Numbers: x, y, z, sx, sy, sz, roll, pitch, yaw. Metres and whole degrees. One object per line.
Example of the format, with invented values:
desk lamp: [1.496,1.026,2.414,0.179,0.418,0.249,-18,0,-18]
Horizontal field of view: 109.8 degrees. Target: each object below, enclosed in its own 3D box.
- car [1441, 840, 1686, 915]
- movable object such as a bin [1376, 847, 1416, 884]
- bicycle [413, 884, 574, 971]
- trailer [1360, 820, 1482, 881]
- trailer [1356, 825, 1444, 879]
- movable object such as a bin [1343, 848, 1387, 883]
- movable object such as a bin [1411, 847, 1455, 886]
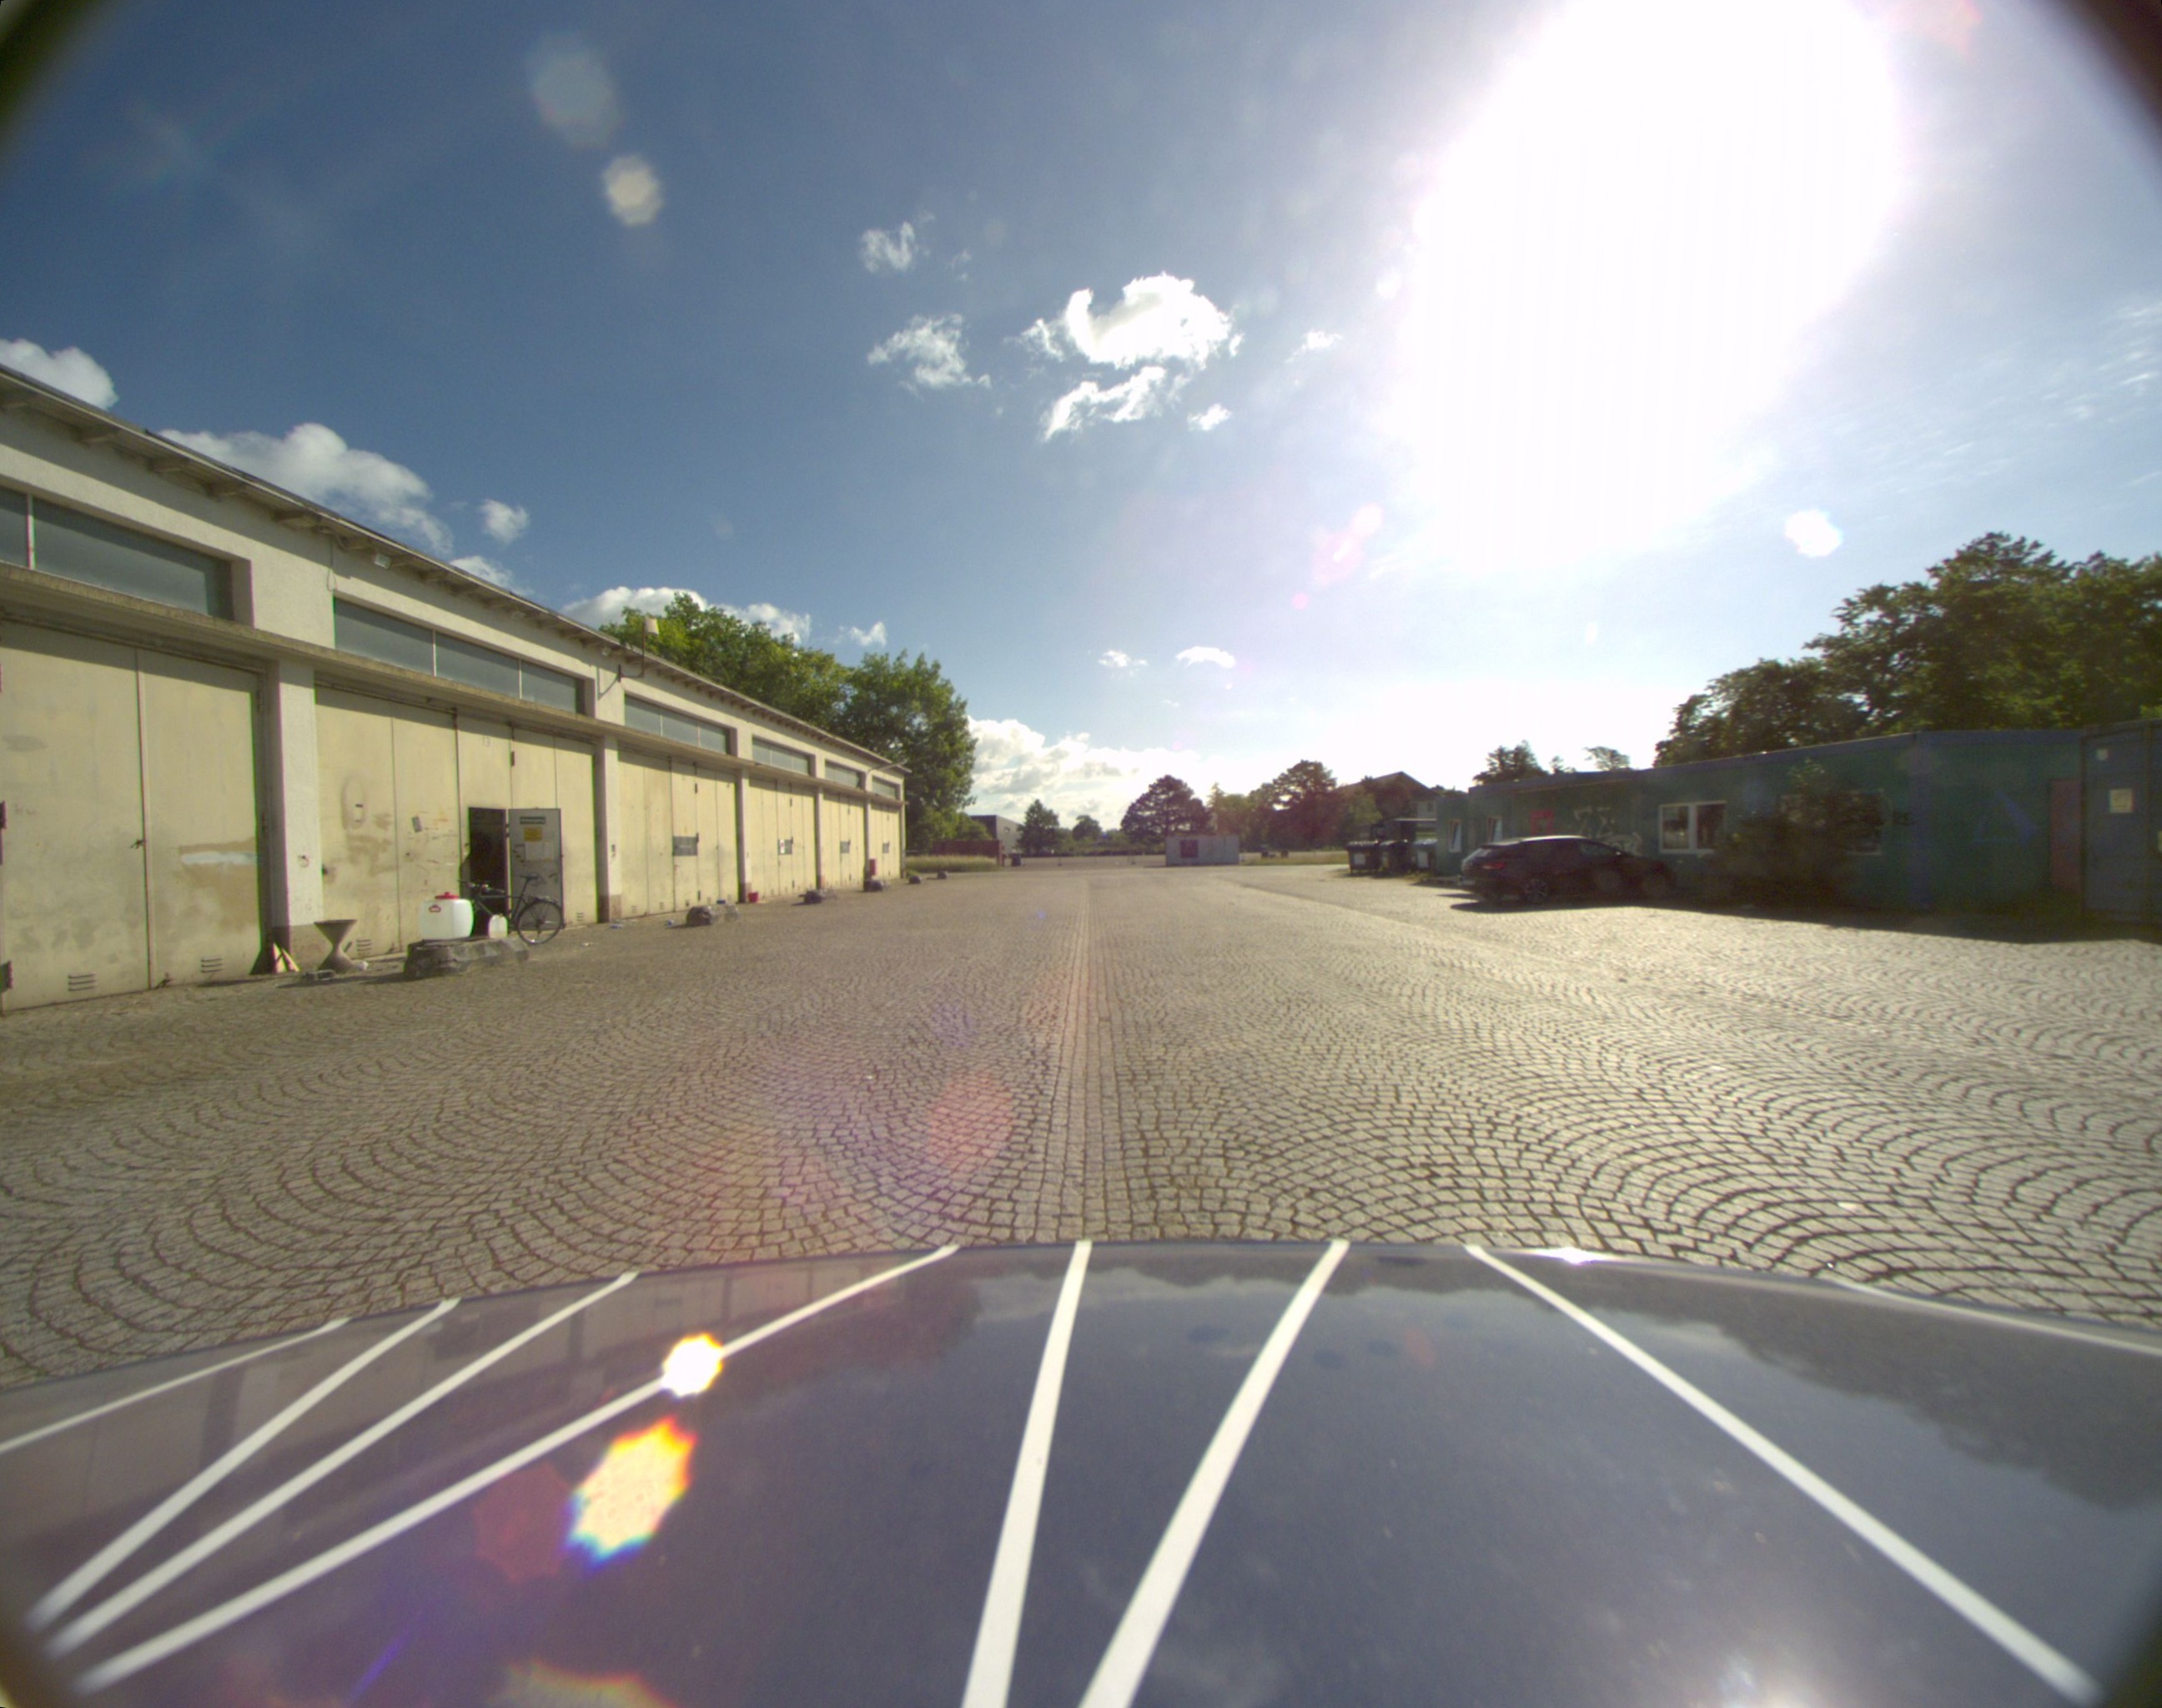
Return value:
car: [10.676,0.480,17.035,4.263,1.441,1.931,-2,1,-1]
movable object such as a bin: [12.968,0.470,31.293,1.020,1.449,1.440,-2,1,0]
bicycle: [-8.589,1.034,11.216,0.665,1.062,1.825,-1,1,13]
trailer: [15.404,-0.172,34.522,4.649,2.553,1.950,-2,1,-3]
trailer: [15.458,-0.100,36.975,3.393,2.456,2.044,-2,1,1]
movable object such as a bin: [12.493,0.486,33.409,1.434,1.449,1.158,0,2,43]
movable object such as a bin: [13.703,0.454,29.608,0.885,1.449,1.439,-2,1,-10]
